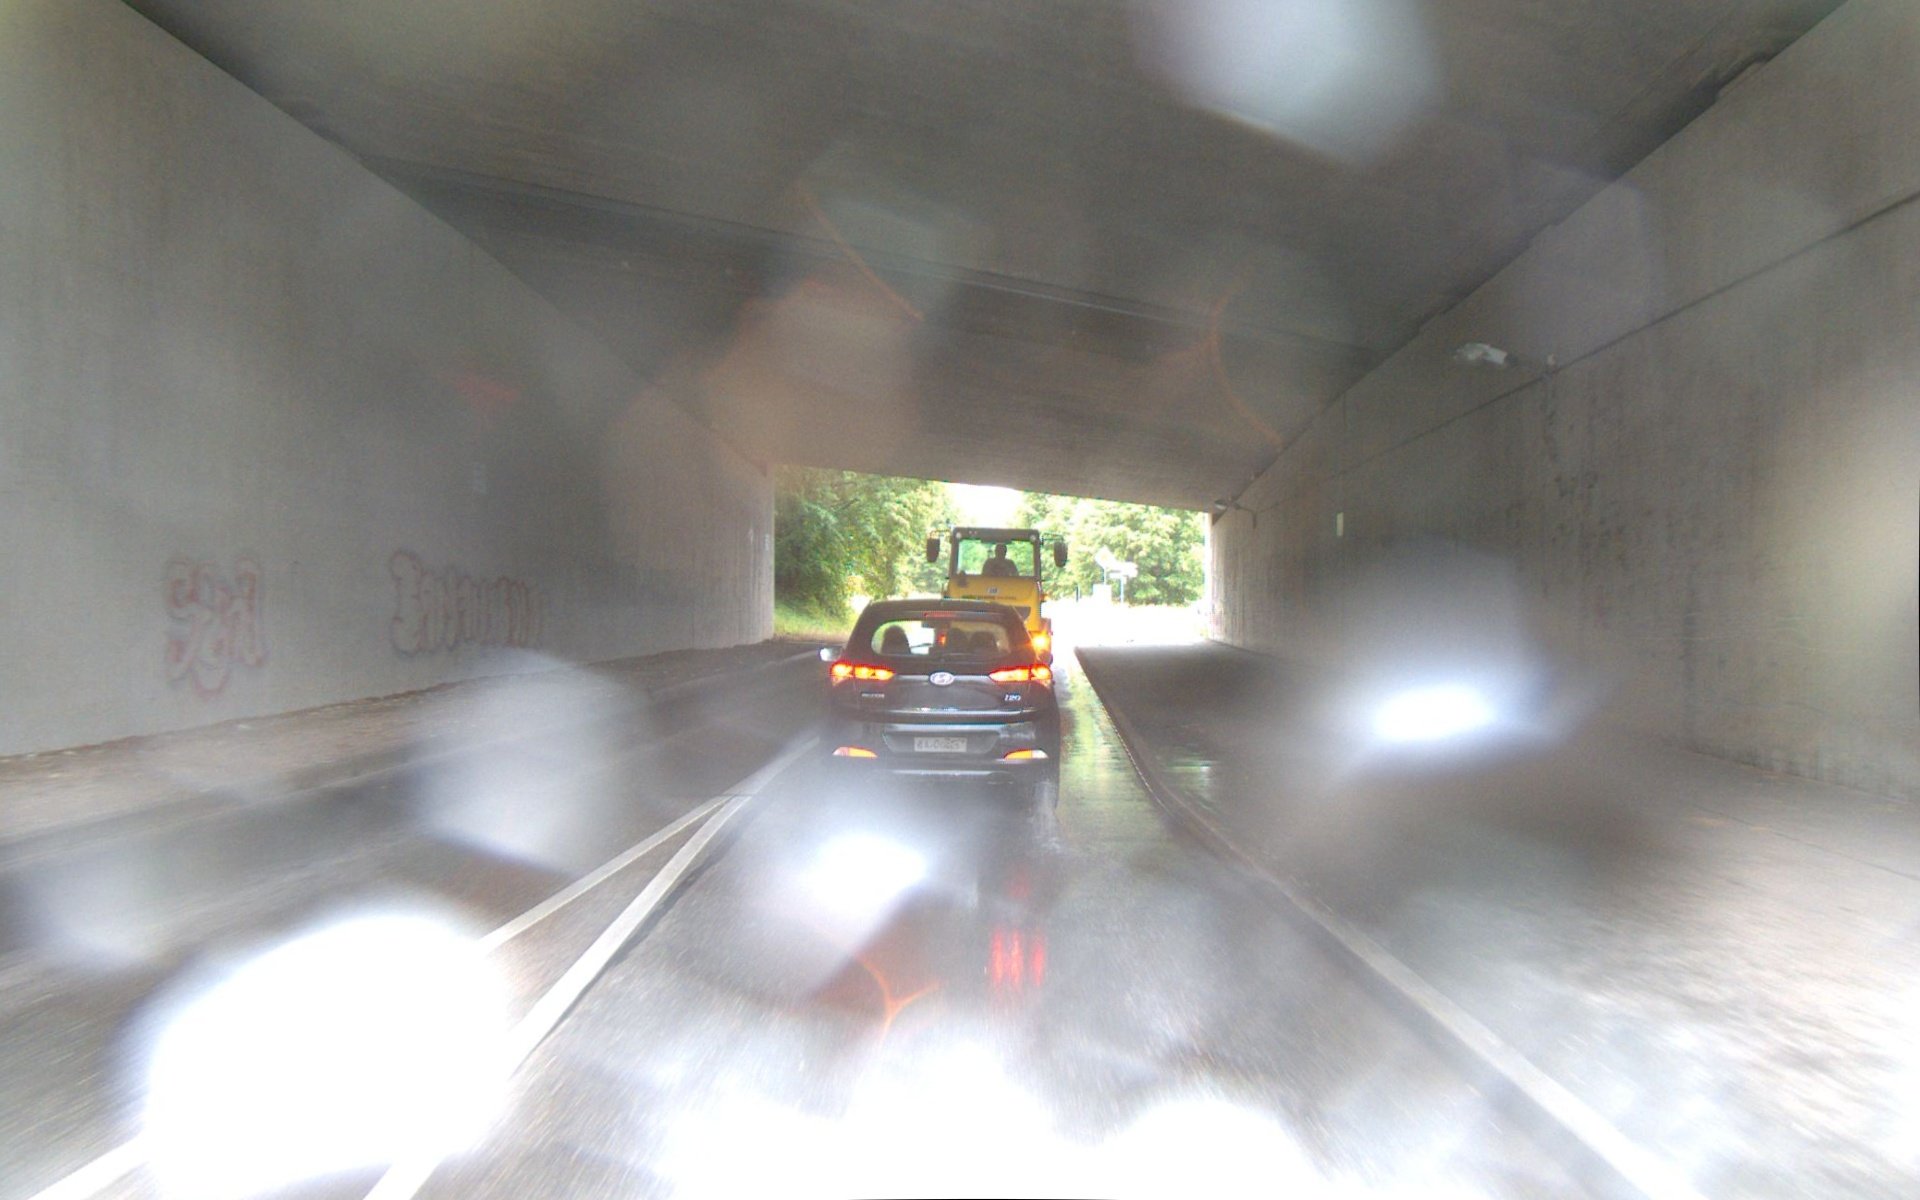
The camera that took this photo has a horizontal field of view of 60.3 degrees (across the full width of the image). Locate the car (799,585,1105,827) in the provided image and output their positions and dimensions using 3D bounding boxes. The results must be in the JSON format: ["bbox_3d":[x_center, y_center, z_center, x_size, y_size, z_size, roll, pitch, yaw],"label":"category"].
[{"bbox_3d":[-0.061,0.695,12.851,1.953,1.513,4.000,2,0,0],"label":"car"}]

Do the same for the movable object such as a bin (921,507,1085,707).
[{"bbox_3d":[0.586,0.098,26.388,2.200,2.716,6.626,2,0,0],"label":"movable object such as a bin"}]
